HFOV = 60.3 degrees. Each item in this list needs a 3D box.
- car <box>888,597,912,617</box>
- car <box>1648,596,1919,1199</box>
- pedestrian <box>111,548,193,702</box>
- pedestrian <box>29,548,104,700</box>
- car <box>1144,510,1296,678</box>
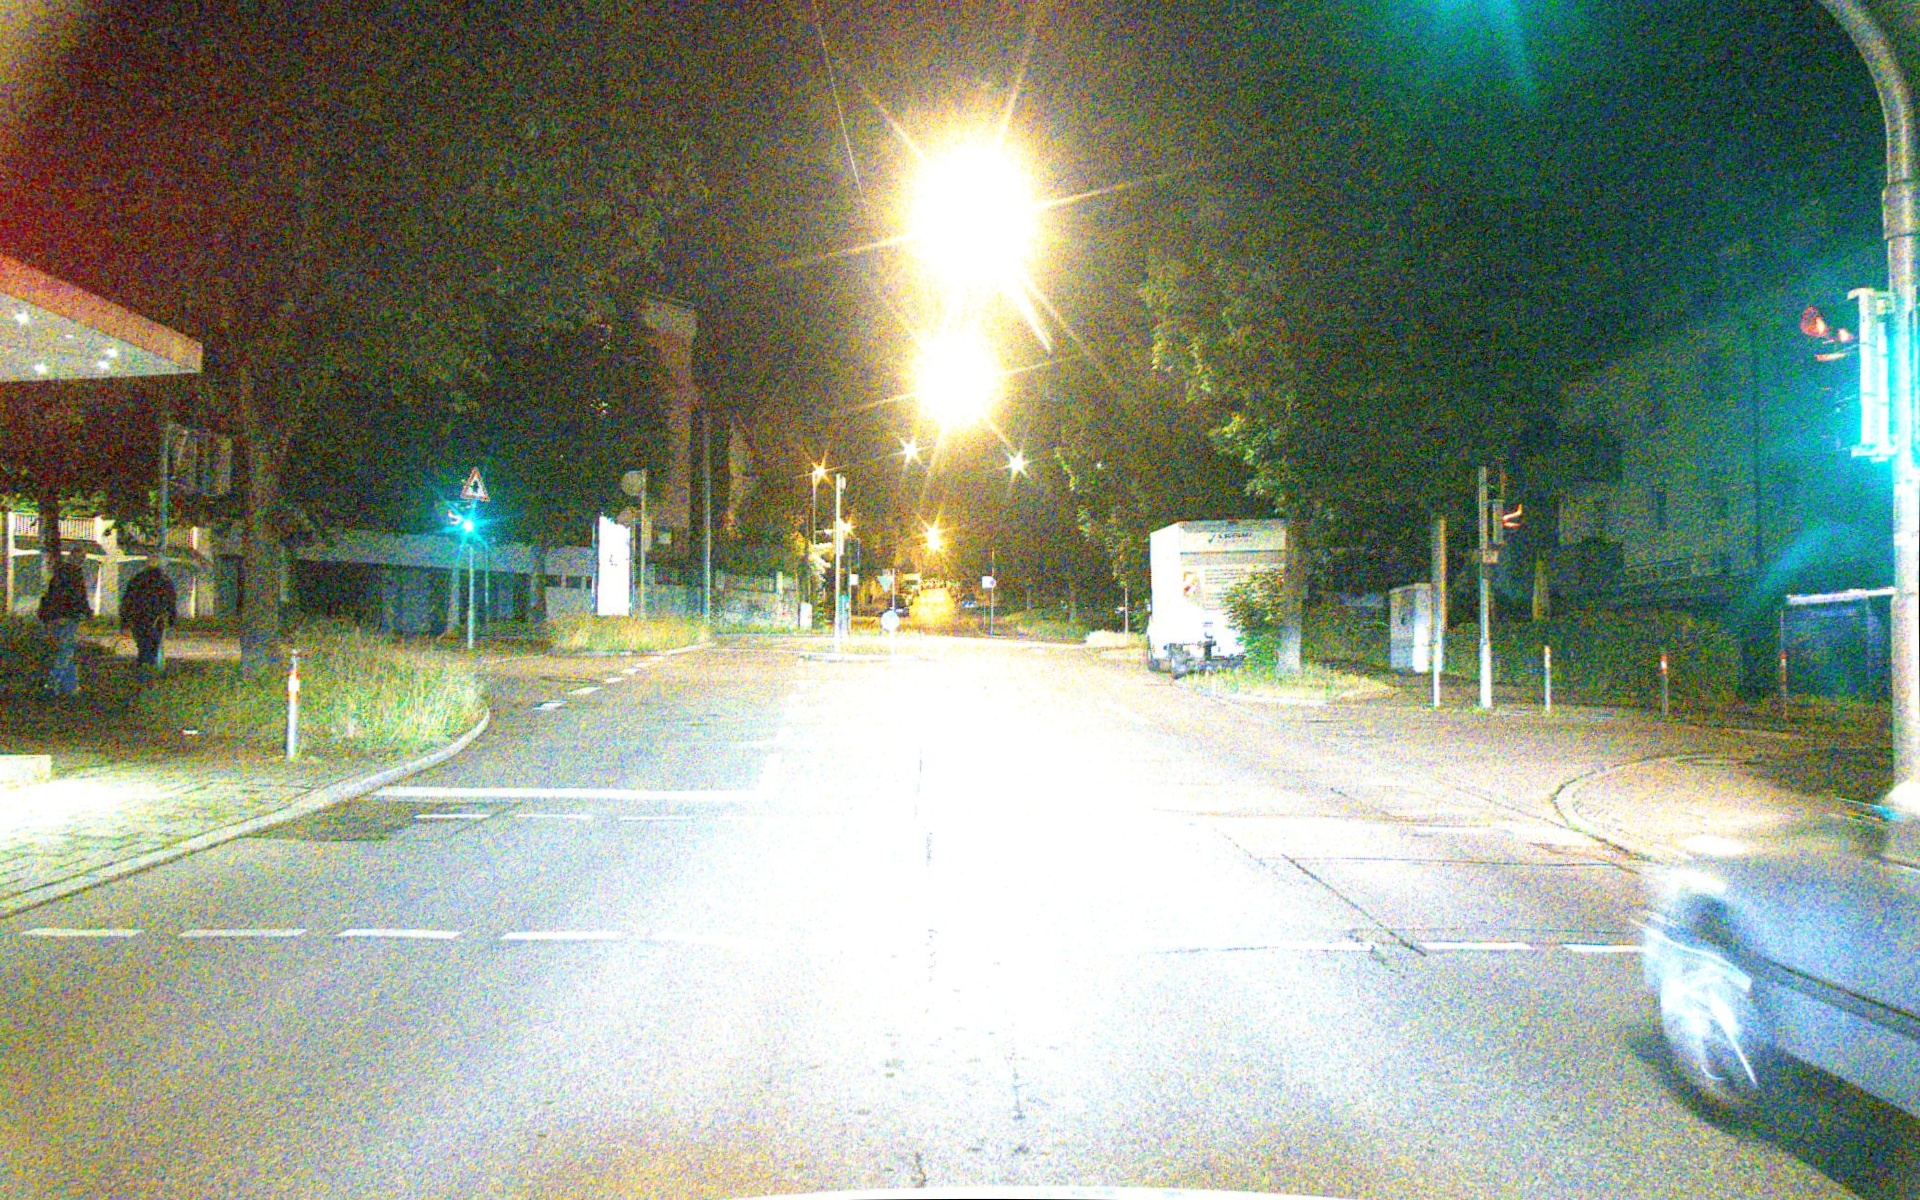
[{"bbox_3d":[-4.855,0.545,134.181,1.869,1.585,3.903,1,0,-1],"label":"car"},{"bbox_3d":[3.157,0.761,3.295,1.740,1.512,3.997,1,0,-3],"label":"car"},{"bbox_3d":[-9.807,0.298,20.088,0.558,1.808,0.737,3,-1,-1],"label":"pedestrian"},{"bbox_3d":[-10.551,0.281,19.537,0.558,1.761,0.543,1,-1,-1],"label":"pedestrian"},{"bbox_3d":[5.250,-0.109,34.305,2.249,3.147,5.840,-1,0,1],"label":"car"}]
